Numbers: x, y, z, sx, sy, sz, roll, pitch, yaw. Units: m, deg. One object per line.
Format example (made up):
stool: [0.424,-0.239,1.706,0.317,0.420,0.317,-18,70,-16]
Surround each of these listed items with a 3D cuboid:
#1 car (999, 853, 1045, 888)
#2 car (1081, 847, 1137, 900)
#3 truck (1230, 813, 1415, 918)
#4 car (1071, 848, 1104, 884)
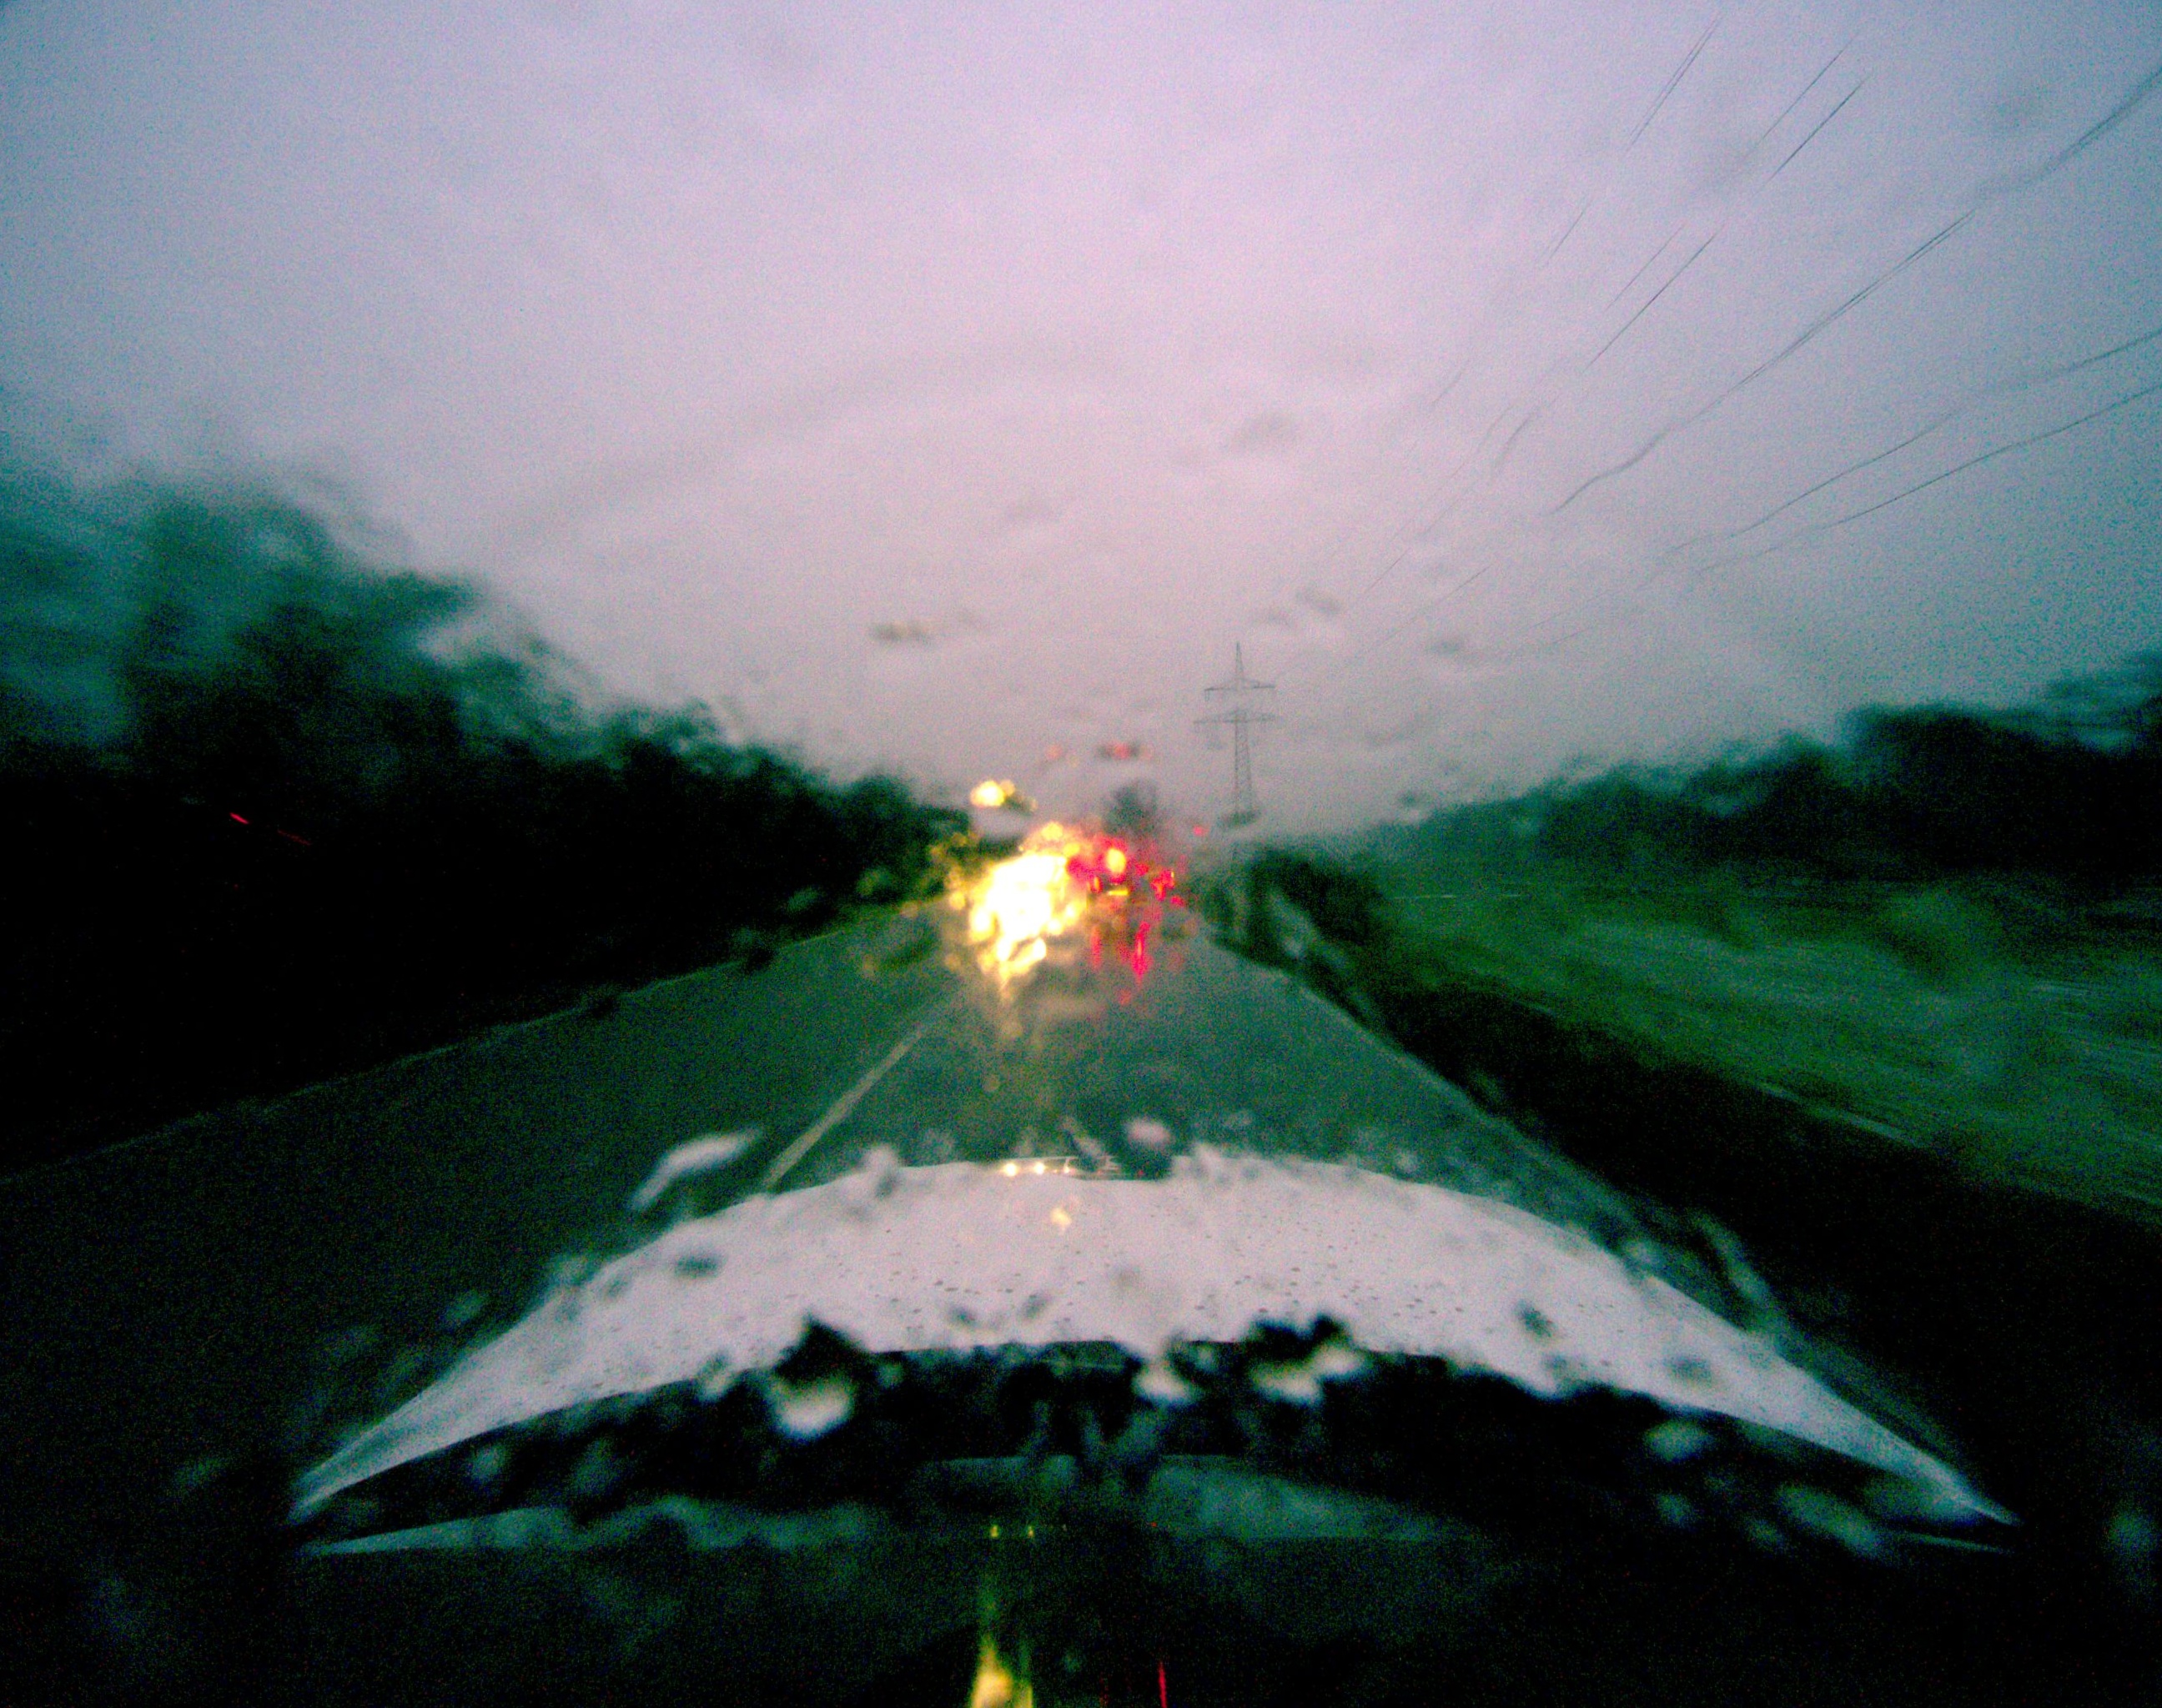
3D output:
car: [-2.691,0.718,38.165,1.682,1.507,4.414,-1,0,1]
car: [0.783,0.534,23.509,1.495,1.398,3.200,-1,0,1]
truck: [6.945,0.295,25.508,2.496,2.571,10.801,-1,0,-1]
car: [0.429,0.657,47.981,1.845,2.013,4.001,-1,0,1]
